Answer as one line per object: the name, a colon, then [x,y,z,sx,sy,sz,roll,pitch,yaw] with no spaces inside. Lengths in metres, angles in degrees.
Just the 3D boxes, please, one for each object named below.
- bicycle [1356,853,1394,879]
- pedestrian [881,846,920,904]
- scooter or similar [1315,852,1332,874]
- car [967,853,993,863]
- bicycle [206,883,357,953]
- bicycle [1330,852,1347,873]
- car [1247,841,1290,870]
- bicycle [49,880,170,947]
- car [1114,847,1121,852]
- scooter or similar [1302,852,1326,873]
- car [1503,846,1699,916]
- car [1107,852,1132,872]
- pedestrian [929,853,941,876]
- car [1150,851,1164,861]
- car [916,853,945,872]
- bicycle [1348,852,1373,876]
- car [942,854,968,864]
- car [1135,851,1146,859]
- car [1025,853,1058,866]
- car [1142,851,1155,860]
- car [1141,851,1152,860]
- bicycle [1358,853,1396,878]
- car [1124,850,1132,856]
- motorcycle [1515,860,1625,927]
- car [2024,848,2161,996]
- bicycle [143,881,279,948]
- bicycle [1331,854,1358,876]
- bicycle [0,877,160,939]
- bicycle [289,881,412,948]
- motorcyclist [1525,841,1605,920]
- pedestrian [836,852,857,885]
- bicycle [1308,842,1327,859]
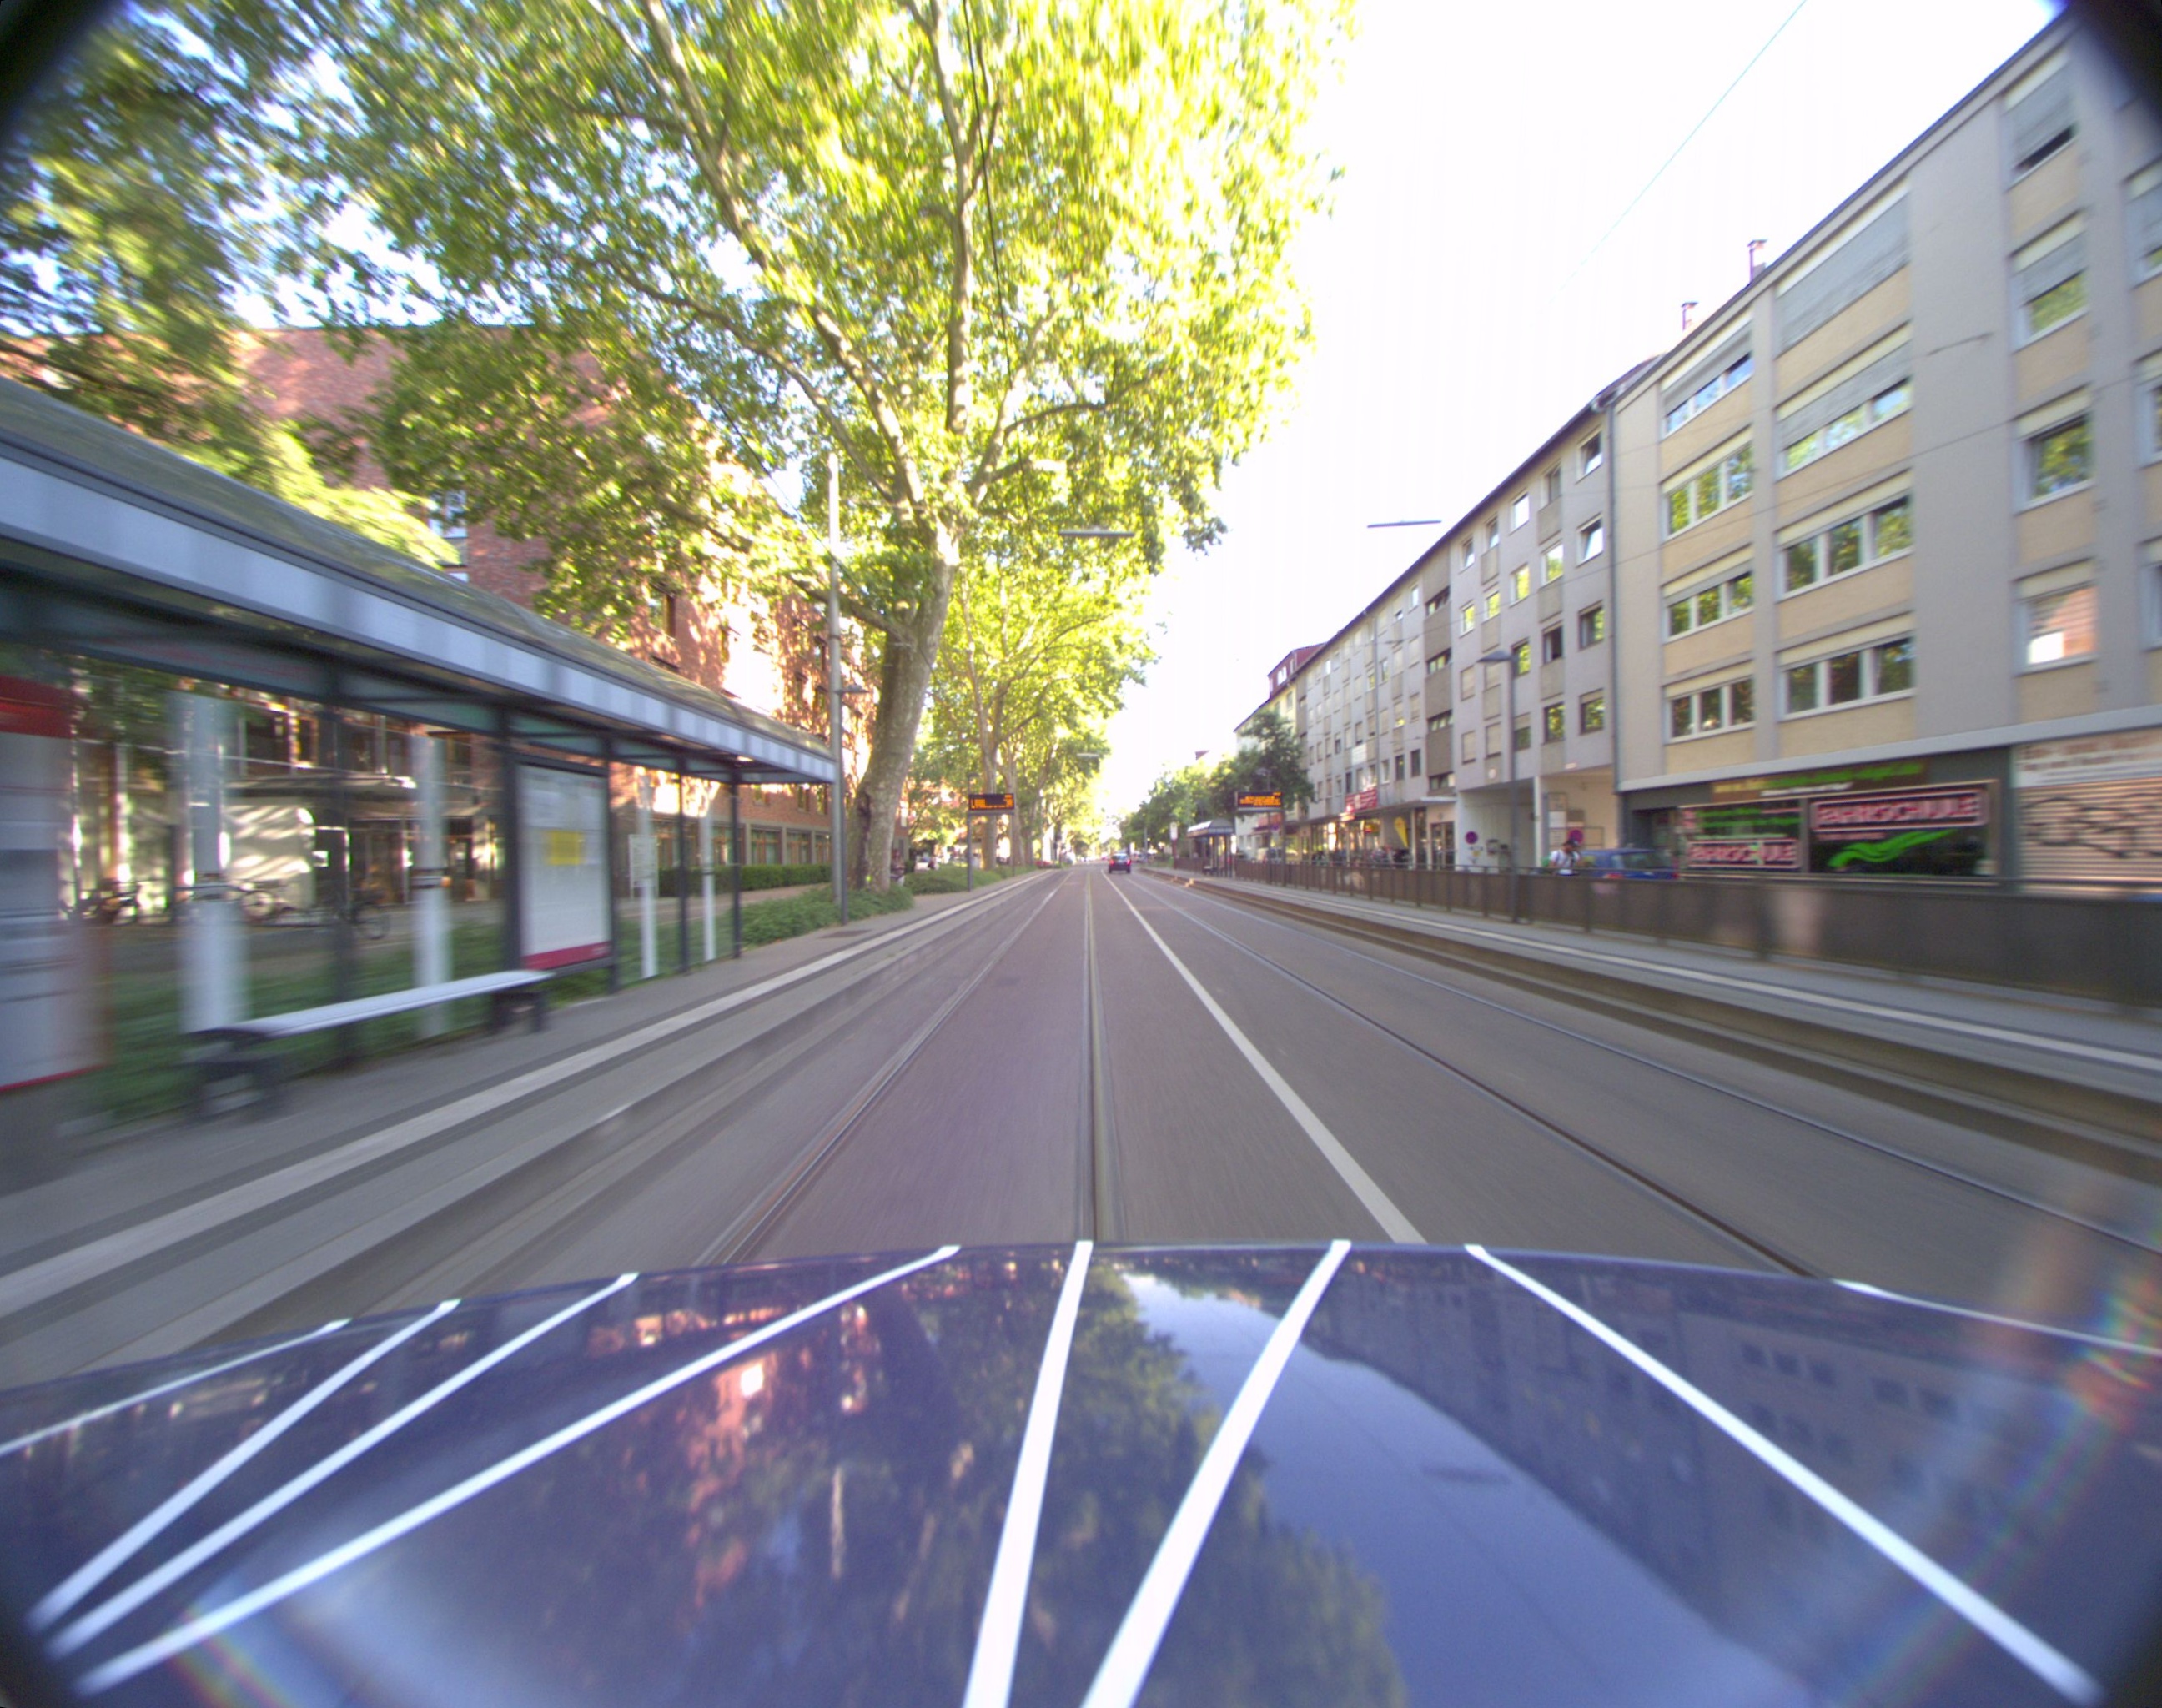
bicycle: [13.708,0.550,35.520,0.561,1.150,2.028,-1,0,-15]
pedestrian: [-5.273,0.591,22.202,0.770,1.650,0.914,-1,1,-39]
scooter or similar: [13.391,0.492,41.919,0.446,1.167,1.274,-1,0,-5]
car: [-15.653,0.616,117.751,3.674,1.521,2.000,-1,0,2]
bicycle: [-13.911,1.103,13.248,2.036,1.150,0.572,1,1,1]
bicycle: [14.380,0.464,42.466,0.513,1.150,1.688,-1,0,4]
car: [12.665,0.095,51.544,1.808,1.923,4.049,-1,0,-1]
bicycle: [-18.072,1.092,14.142,1.681,1.150,0.572,1,1,6]
car: [11.769,-1.424,243.941,1.998,1.741,3.677,-1,0,0]
scooter or similar: [13.265,0.491,43.238,0.447,1.167,1.272,-1,1,-36]
car: [12.142,0.560,18.146,1.799,1.455,4.282,0,0,1]
car: [3.188,0.642,63.675,1.766,1.579,3.999,-1,0,-1]
pedestrian: [-10.860,0.745,56.399,0.710,1.681,0.748,-1,1,-1]
car: [11.623,0.285,116.274,1.998,1.521,3.678,-1,0,3]
car: [-12.660,0.721,64.096,1.657,1.499,3.961,-1,0,1]
bicycle: [13.972,0.497,38.041,0.494,1.150,1.751,-1,0,-5]
car: [-19.557,0.754,117.819,3.674,1.521,2.000,-1,0,2]
car: [11.804,0.177,151.105,1.998,1.521,3.678,-1,0,3]
car: [-4.809,0.642,93.620,3.872,1.521,2.000,-1,0,2]
car: [11.722,0.260,131.955,1.998,1.521,3.678,-1,0,3]
car: [11.773,0.298,136.780,1.998,1.521,3.678,-1,0,3]
bicycle: [13.957,0.535,35.888,0.561,1.150,2.028,-1,0,-15]
car: [12.554,-0.255,202.651,1.998,1.521,3.677,-1,0,0]
motorcycle: [9.159,0.698,14.340,0.851,1.157,1.915,-1,0,0]
car: [12.237,0.711,6.878,1.961,1.535,4.388,0,0,1]
bicycle: [-16.104,1.100,14.078,2.035,1.150,0.572,1,1,6]
bicycle: [13.850,0.566,39.972,0.572,1.150,2.036,-1,0,-5]
bicycle: [-21.261,1.104,16.161,0.707,1.150,2.039,1,1,10]
bicycle: [-13.573,1.102,14.124,2.034,1.150,0.572,1,1,11]
motorcyclist: [9.144,0.485,14.391,0.875,1.432,1.016,-1,1,0]
pedestrian: [-11.970,0.751,38.800,0.768,1.650,0.917,-1,1,1]
bicycle: [16.412,-0.236,52.759,0.572,1.150,2.036,-1,0,-5]
